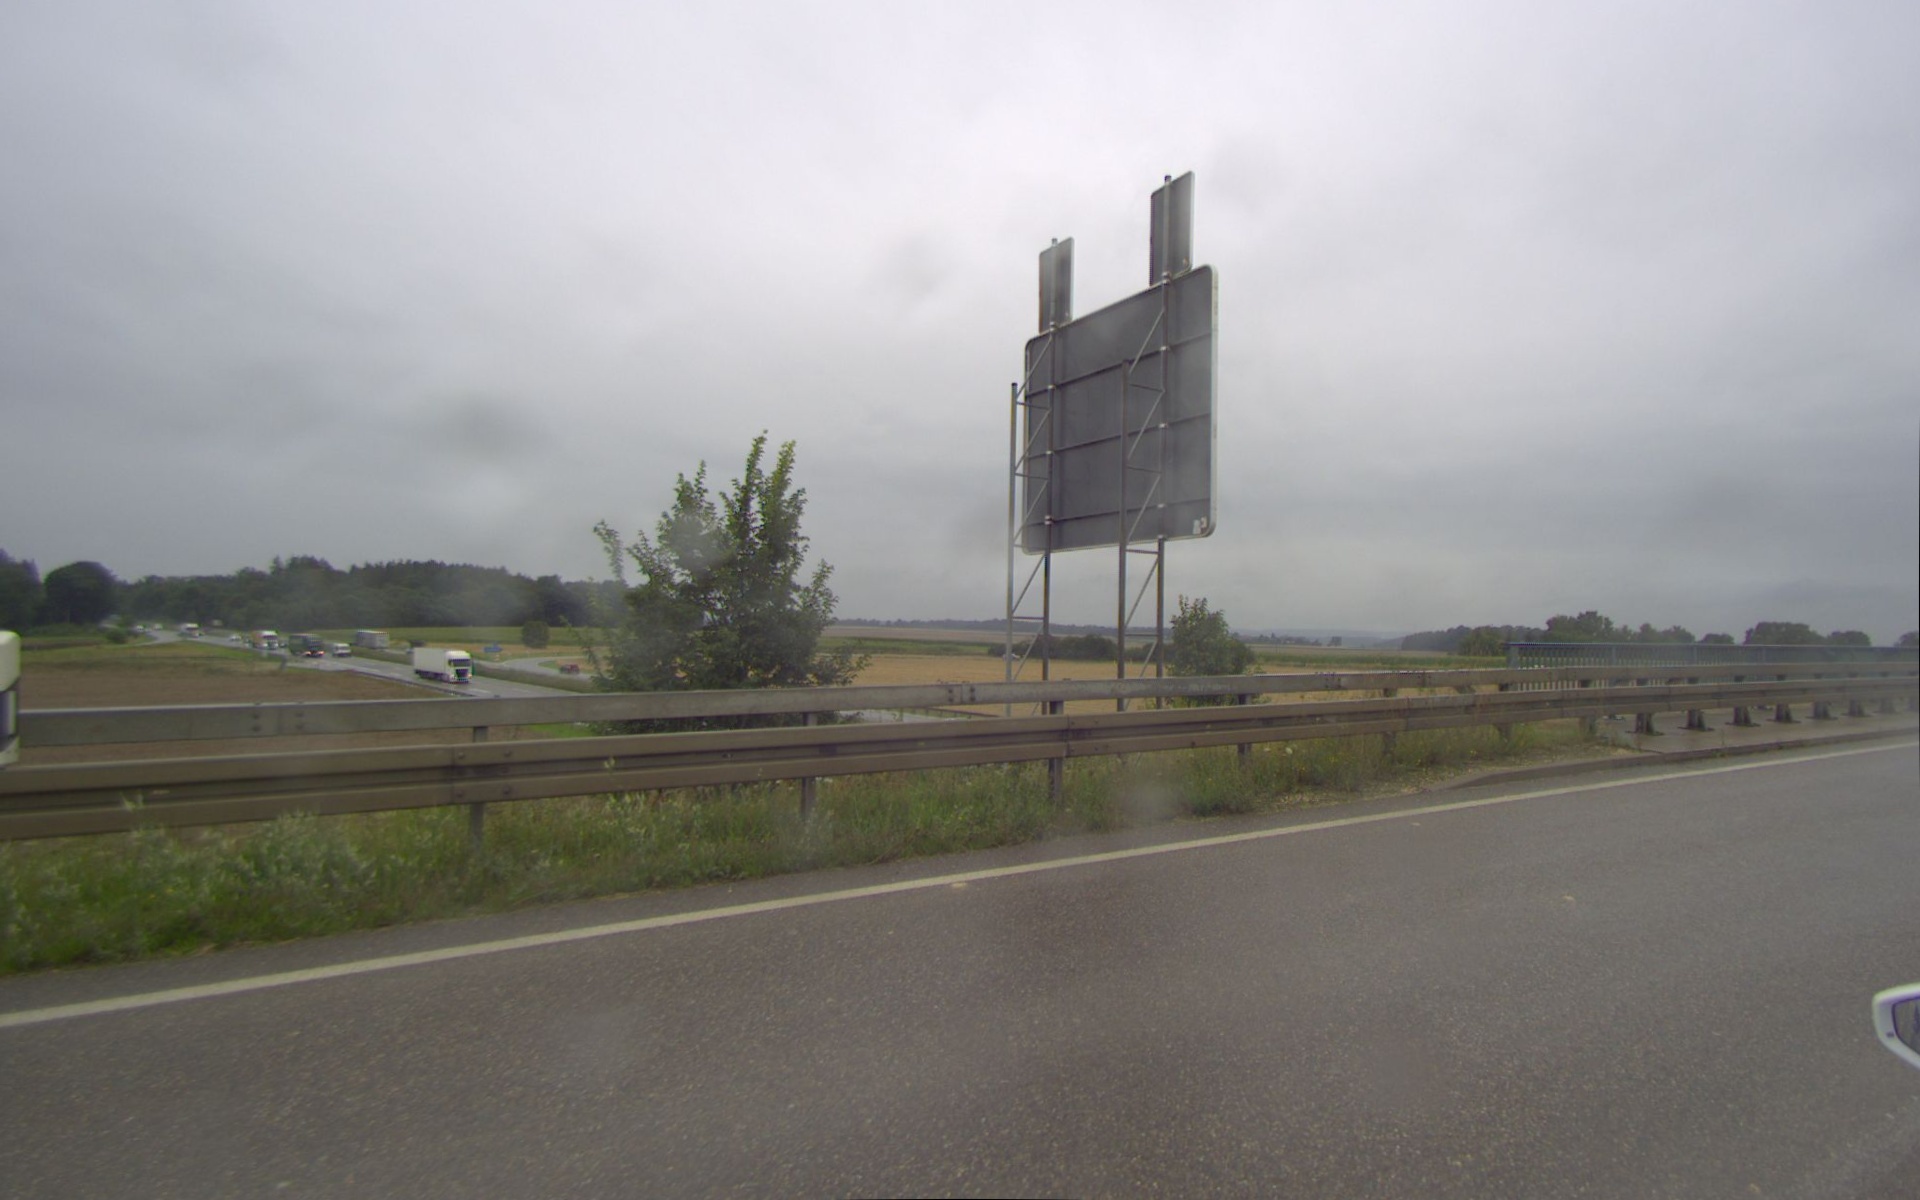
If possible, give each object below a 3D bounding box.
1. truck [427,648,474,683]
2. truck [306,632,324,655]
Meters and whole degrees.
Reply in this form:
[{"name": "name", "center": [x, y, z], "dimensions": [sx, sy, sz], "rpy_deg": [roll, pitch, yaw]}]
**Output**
[{"name": "truck", "center": [-66.233, 8.480, 130.492], "dimensions": [2.765, 3.920, 10.513], "rpy_deg": [3, -2, -42]}, {"name": "truck", "center": [-122.342, 8.216, 190.429], "dimensions": [2.219, 3.749, 9.746], "rpy_deg": [1, 2, -37]}]
